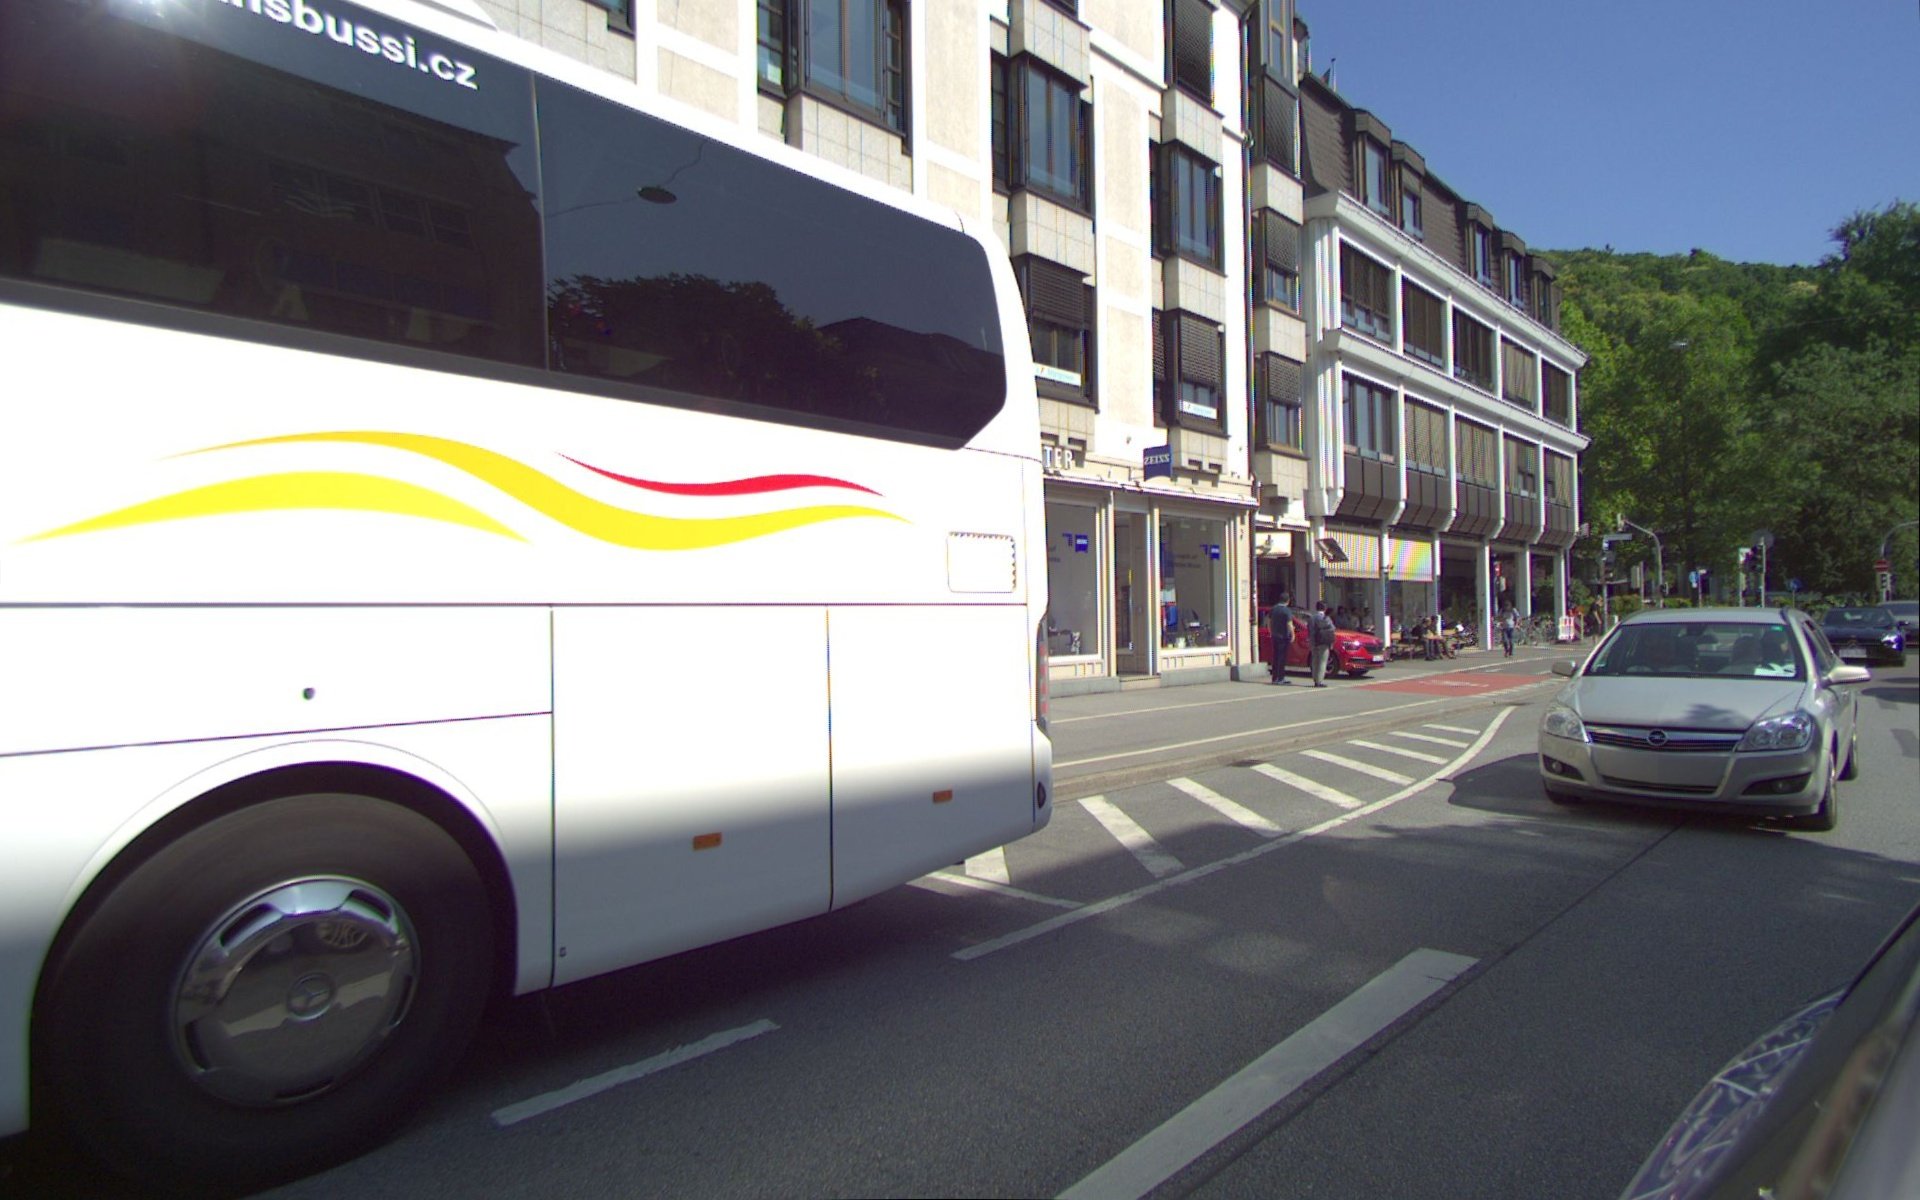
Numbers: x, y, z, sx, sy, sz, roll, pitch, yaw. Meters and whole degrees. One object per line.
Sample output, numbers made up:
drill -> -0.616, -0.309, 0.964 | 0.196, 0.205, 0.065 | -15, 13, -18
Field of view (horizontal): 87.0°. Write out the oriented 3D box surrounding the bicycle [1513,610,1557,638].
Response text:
bicycle -> 22.311, 0.925, 39.265 | 1.444, 1.079, 0.377 | 0, 0, 3

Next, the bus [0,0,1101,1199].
bus -> -4.658, -0.363, 1.648 | 2.881, 3.791, 12.226 | -4, -3, 44

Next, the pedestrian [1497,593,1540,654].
pedestrian -> 15.944, 0.665, 28.896 | 0.683, 1.684, 0.835 | -1, 0, -35

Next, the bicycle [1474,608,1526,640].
bicycle -> 19.696, 0.867, 36.933 | 0.272, 1.134, 1.721 | 0, 0, -37

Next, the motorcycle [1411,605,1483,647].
motorcycle -> 16.542, 0.858, 34.436 | 0.929, 1.307, 2.248 | -1, 0, -16

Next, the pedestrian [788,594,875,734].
pedestrian -> -1.586, 0.757, 12.473 | 0.808, 1.637, 0.646 | -2, 0, -41

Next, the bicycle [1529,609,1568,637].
bicycle -> 23.247, 0.908, 39.956 | 1.441, 1.079, 0.310 | 0, 0, -9

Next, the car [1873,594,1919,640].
car -> 32.185, 0.524, 34.037 | 4.272, 1.447, 1.937 | -1, 0, -44

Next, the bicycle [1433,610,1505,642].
bicycle -> 17.921, 0.907, 35.689 | 2.226, 1.111, 0.274 | -1, -2, 33

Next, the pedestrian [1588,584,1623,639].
pedestrian -> 22.578, 0.394, 35.401 | 0.683, 1.859, 0.835 | -1, 0, -35

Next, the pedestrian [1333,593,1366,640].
pedestrian -> 11.976, 0.498, 31.102 | 0.685, 1.414, 0.711 | -2, 0, -45

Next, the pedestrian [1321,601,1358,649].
pedestrian -> 11.439, 0.741, 30.470 | 0.813, 1.414, 0.686 | -2, 0, 44

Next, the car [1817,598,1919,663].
car -> 22.705, 0.712, 25.338 | 1.841, 1.447, 4.150 | -1, 0, 41

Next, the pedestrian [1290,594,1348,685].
pedestrian -> 6.888, 0.733, 19.445 | 0.819, 1.707, 0.696 | 0, -1, -35

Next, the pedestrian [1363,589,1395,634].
pedestrian -> 13.433, 0.368, 32.461 | 0.685, 1.414, 0.711 | -2, 0, -45

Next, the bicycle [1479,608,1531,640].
bicycle -> 20.001, 0.878, 37.175 | 0.272, 1.134, 1.721 | 0, 0, -37

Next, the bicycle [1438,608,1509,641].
bicycle -> 18.330, 0.883, 36.142 | 2.231, 1.135, 0.274 | -1, -2, 39

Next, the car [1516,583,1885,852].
car -> 6.007, 0.692, 7.981 | 1.707, 1.542, 4.335 | -2, -1, 45

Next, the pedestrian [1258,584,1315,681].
pedestrian -> 6.498, 0.629, 20.161 | 0.820, 1.874, 0.696 | -1, 0, -35

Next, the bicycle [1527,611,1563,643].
bicycle -> 21.315, 0.959, 36.866 | 2.201, 1.135, 0.277 | 0, -1, -37

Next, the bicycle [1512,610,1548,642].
bicycle -> 20.872, 0.924, 37.025 | 2.201, 1.135, 0.277 | 0, -1, -37

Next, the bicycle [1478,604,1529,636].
bicycle -> 23.260, 0.845, 43.314 | 1.828, 1.333, 0.530 | 0, -1, 8

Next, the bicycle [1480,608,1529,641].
bicycle -> 19.540, 0.880, 36.341 | 0.272, 1.134, 1.575 | 0, 0, -37

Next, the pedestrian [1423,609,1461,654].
pedestrian -> 13.646, 0.892, 28.641 | 0.683, 1.232, 0.713 | -2, 0, -35

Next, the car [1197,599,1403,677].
car -> 7.629, 0.796, 22.960 | 1.811, 1.513, 4.049 | -3, 2, -42

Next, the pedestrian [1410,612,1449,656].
pedestrian -> 13.027, 0.938, 28.070 | 0.683, 1.187, 0.713 | -2, 0, -35

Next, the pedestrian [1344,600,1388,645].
pedestrian -> 12.790, 0.699, 31.887 | 0.896, 1.368, 1.088 | -1, 0, 45
